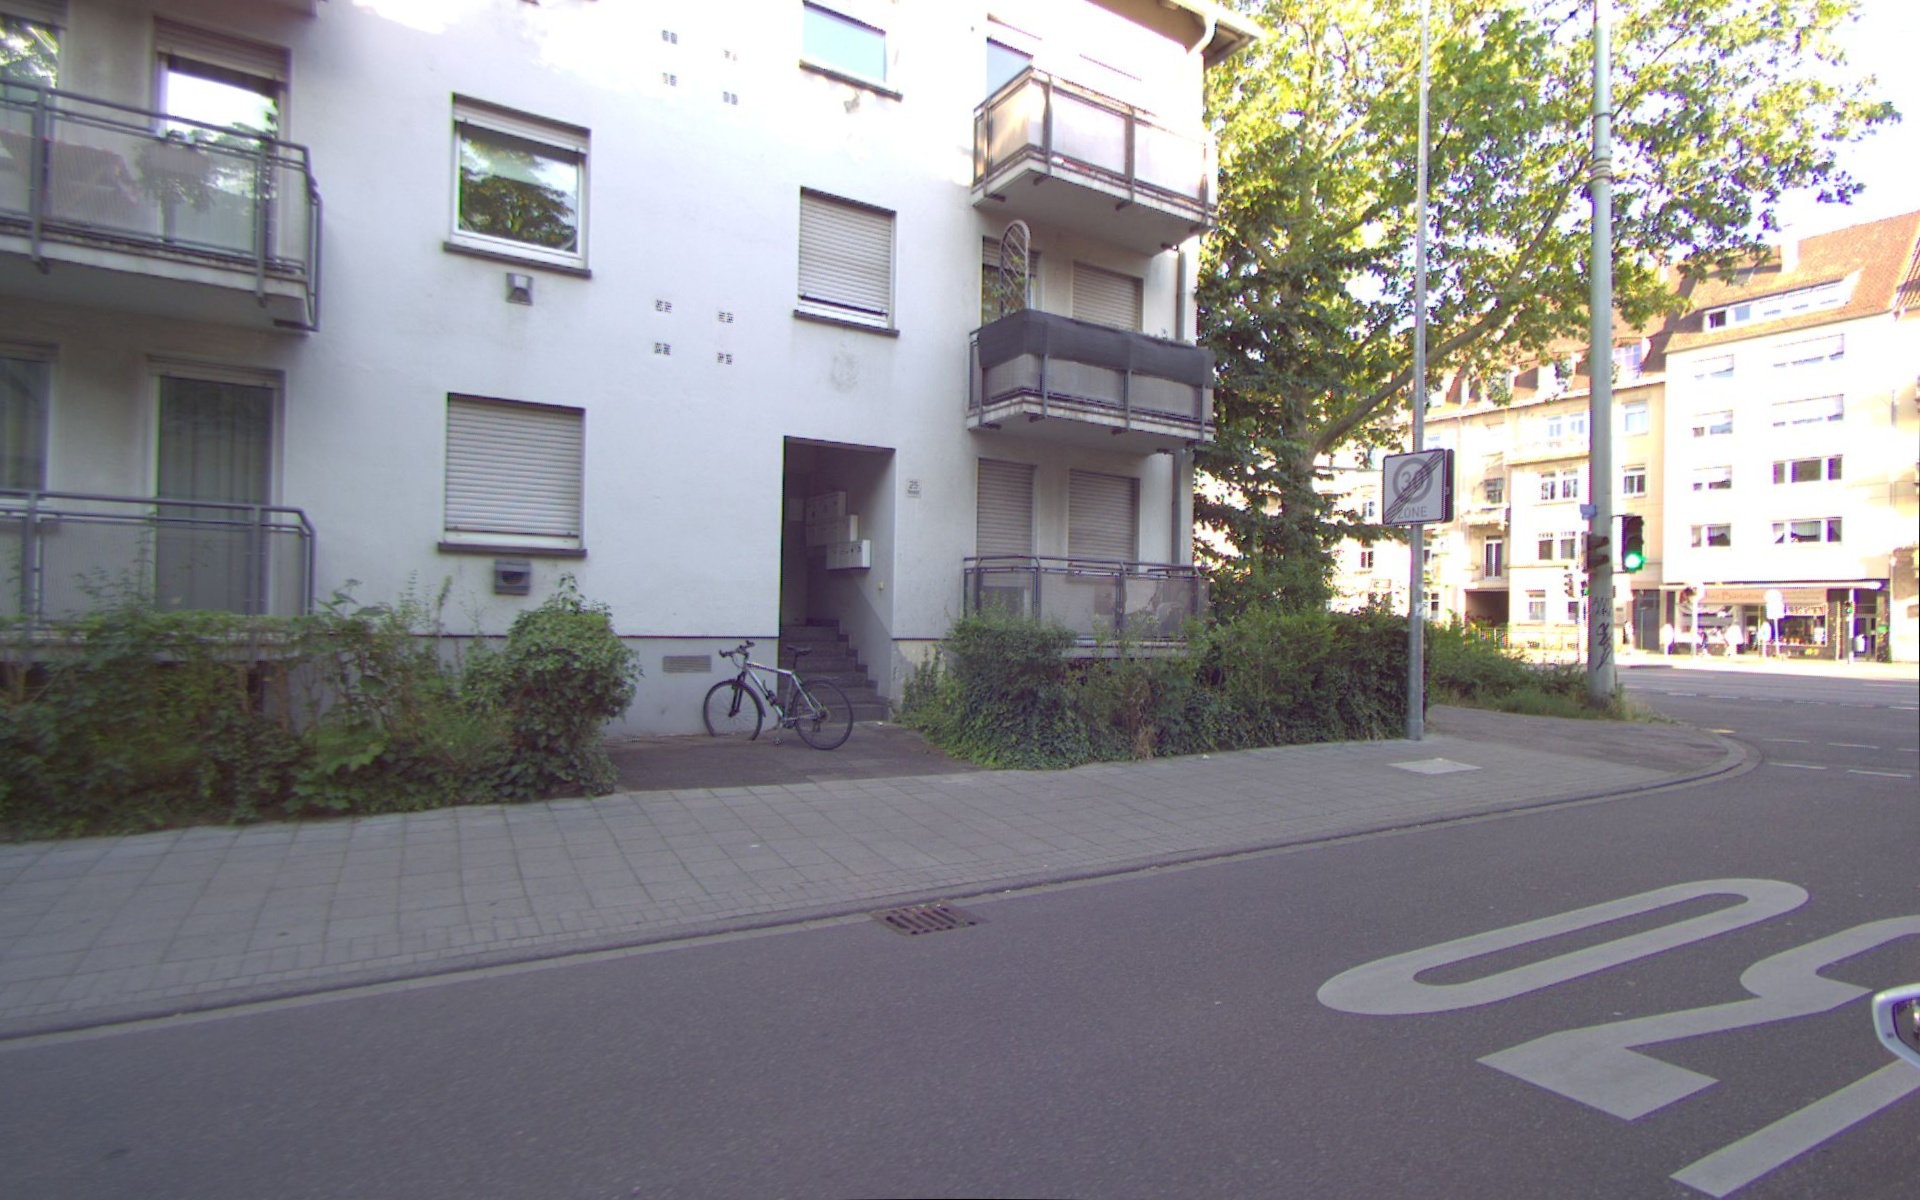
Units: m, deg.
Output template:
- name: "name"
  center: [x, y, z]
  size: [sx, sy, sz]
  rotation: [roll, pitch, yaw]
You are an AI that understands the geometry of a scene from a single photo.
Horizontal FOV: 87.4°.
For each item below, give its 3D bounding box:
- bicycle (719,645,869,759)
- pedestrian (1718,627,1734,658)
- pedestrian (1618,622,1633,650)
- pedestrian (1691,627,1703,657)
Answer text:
- name: "bicycle"
  center: [-1.659, 0.990, 9.995]
  size: [1.434, 0.988, 0.407]
  rotation: [3, 0, 22]
- name: "pedestrian"
  center: [39.112, 2.166, 51.299]
  size: [0.531, 1.531, 0.505]
  rotation: [1, -1, -34]
- name: "pedestrian"
  center: [35.734, 1.929, 53.929]
  size: [0.559, 1.531, 0.499]
  rotation: [0, -1, 43]
- name: "pedestrian"
  center: [38.021, 2.162, 51.809]
  size: [0.467, 1.531, 0.428]
  rotation: [0, -1, 42]
